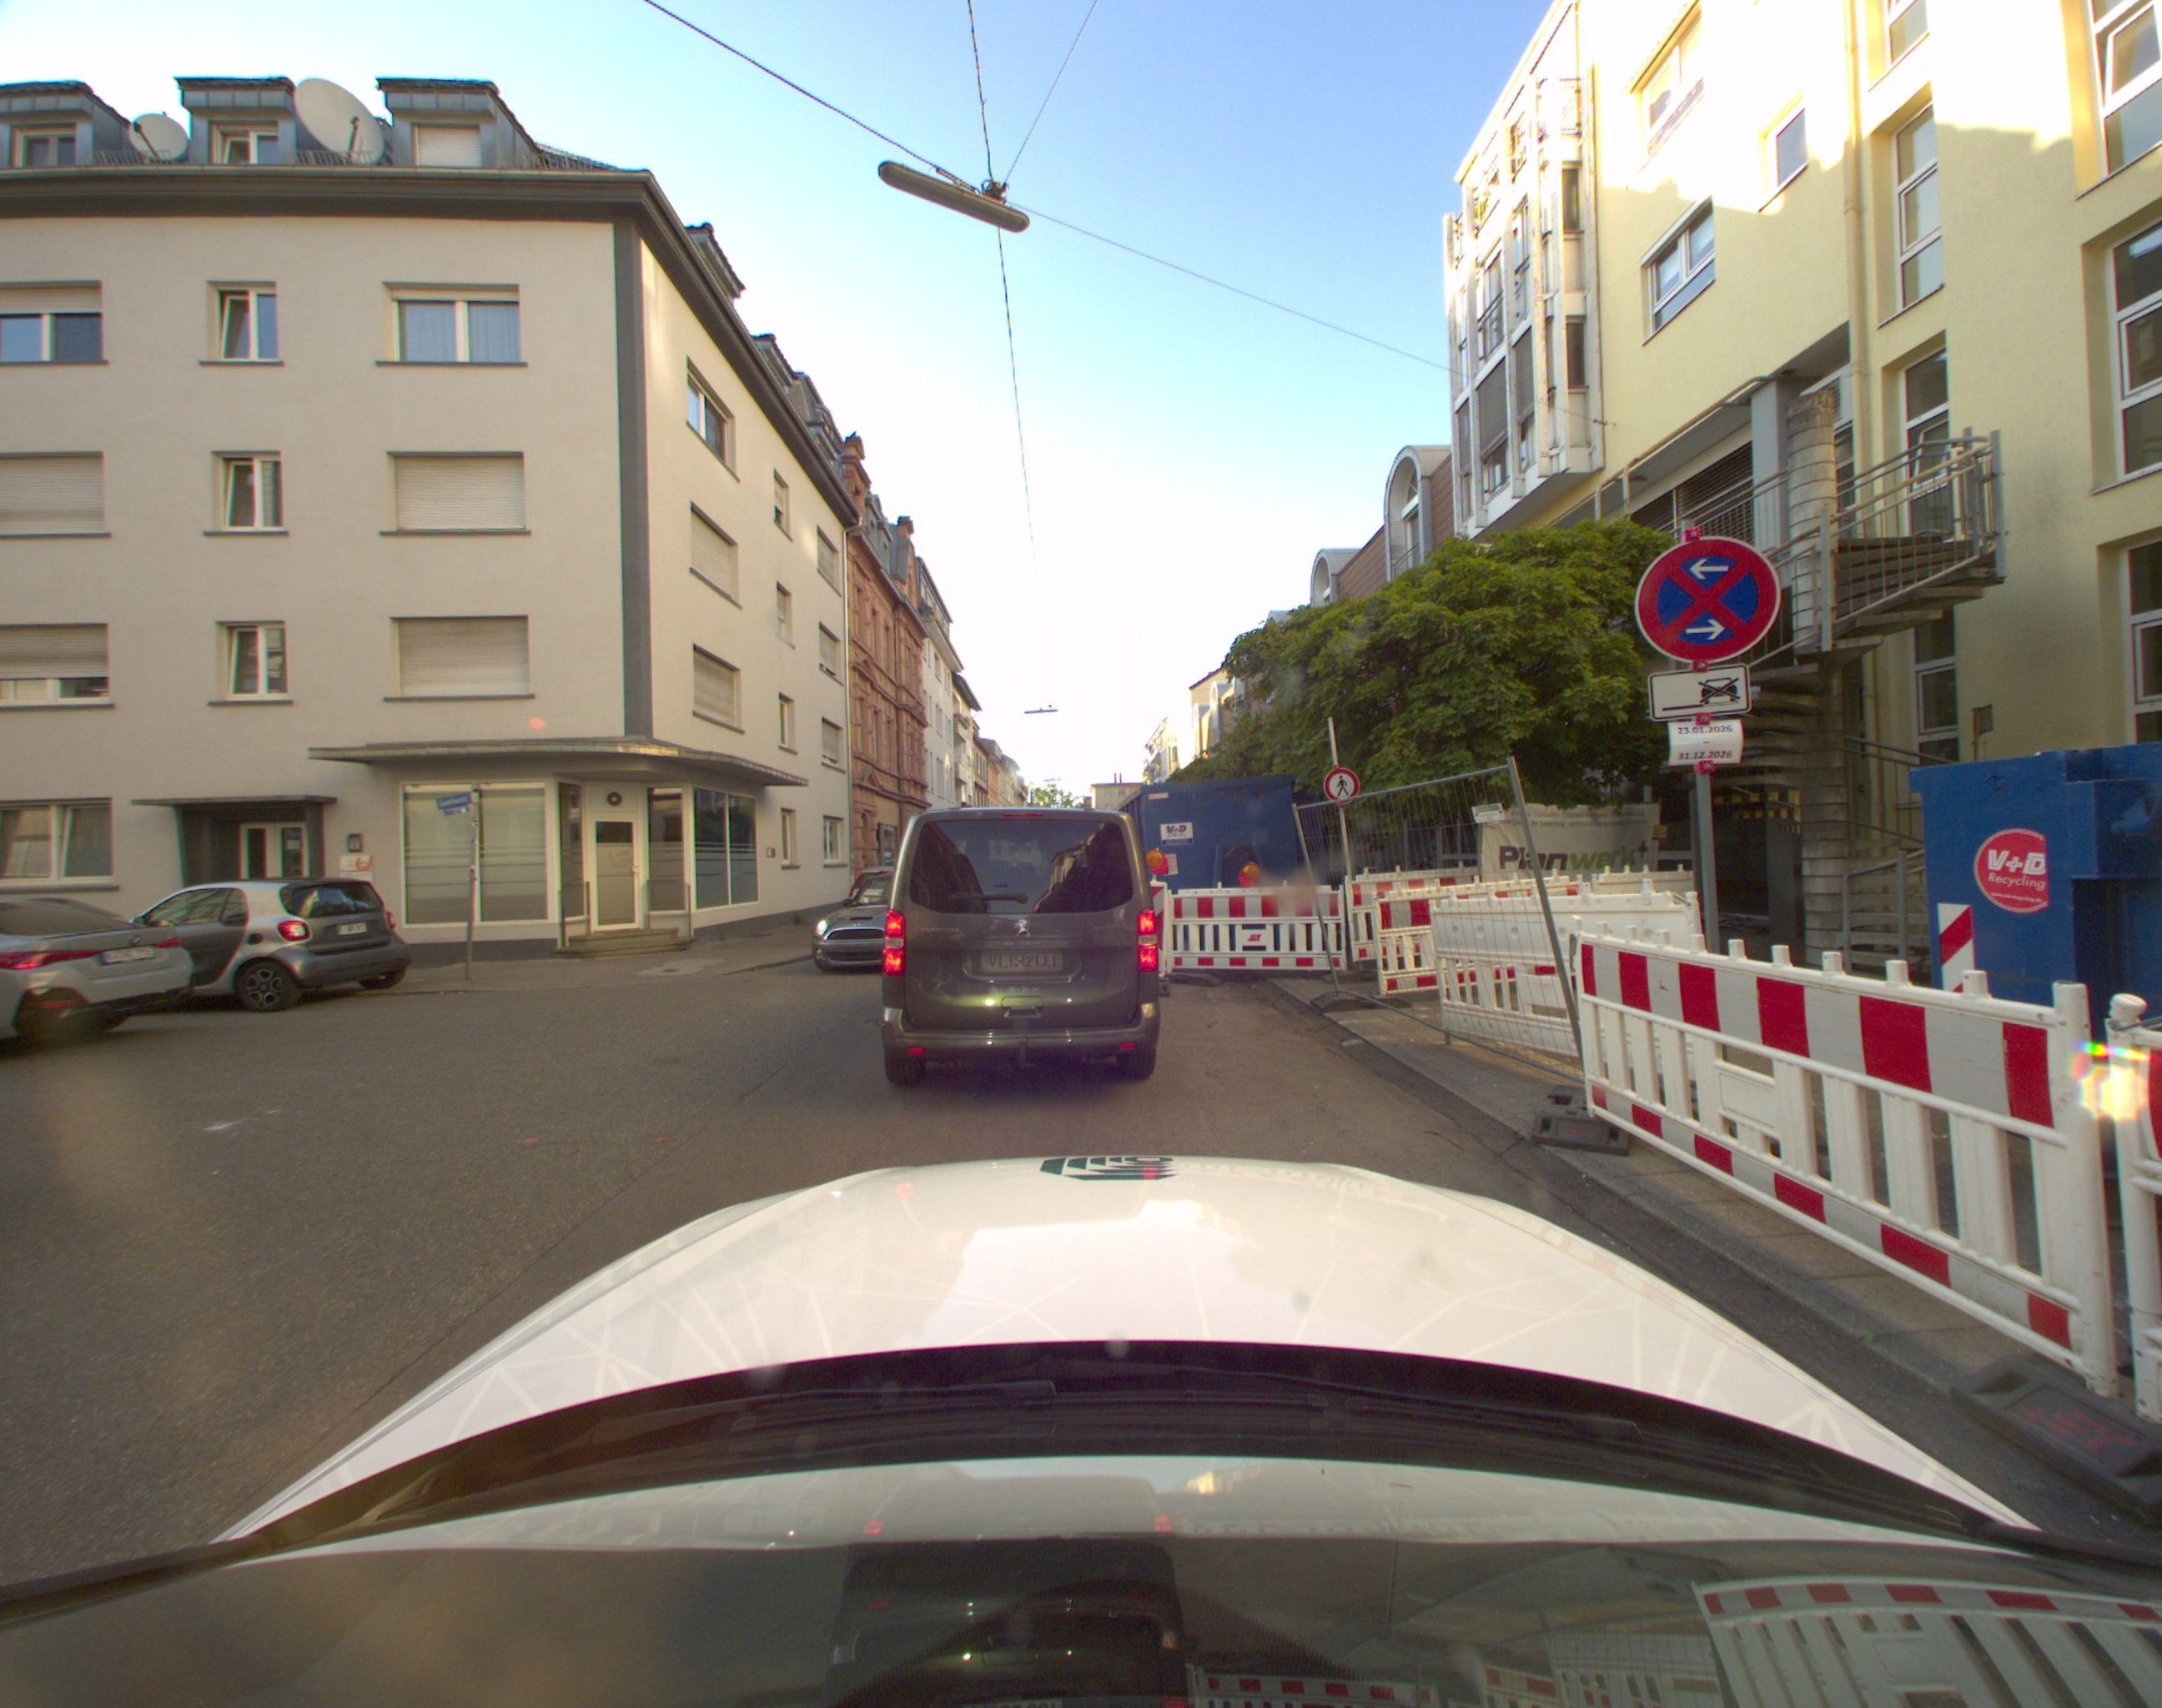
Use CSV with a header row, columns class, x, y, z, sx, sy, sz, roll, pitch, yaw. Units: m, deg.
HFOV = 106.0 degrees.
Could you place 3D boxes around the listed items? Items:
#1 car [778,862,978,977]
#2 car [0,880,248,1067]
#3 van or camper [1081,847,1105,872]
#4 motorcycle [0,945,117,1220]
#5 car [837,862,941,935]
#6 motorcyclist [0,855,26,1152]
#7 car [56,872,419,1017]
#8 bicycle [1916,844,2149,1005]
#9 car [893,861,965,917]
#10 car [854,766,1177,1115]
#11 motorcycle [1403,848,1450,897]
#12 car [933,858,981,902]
class,x,y,z,sx,sy,sz,roll,pitch,yaw
car,-2.989,0.900,12.941,1.986,1.486,4.002,-1,0,2
car,-11.035,1.070,7.254,4.654,1.486,1.991,-1,0,-14
van or camper,1.260,0.633,90.385,2.094,2.602,7.505,-3,0,-2
motorcycle,-6.017,1.127,4.011,1.684,1.249,0.808,0,1,6
car,-4.275,0.935,18.609,1.628,1.430,3.552,-1,0,-2
motorcyclist,-6.253,0.799,4.007,0.991,1.567,0.876,0,1,7
car,-10.357,1.053,10.181,2.746,1.566,1.648,-1,0,-1
bicycle,7.992,0.554,6.855,1.646,1.268,0.547,0,-1,-12
car,-4.448,0.989,24.320,1.551,1.508,3.595,1,0,-2
car,-0.444,0.526,6.983,1.853,2.013,3.997,-4,0,-2
motorcycle,9.199,0.476,21.799,0.863,1.222,2.468,-3,-1,17
car,-4.677,0.950,30.992,1.392,1.588,2.792,-1,0,-2
